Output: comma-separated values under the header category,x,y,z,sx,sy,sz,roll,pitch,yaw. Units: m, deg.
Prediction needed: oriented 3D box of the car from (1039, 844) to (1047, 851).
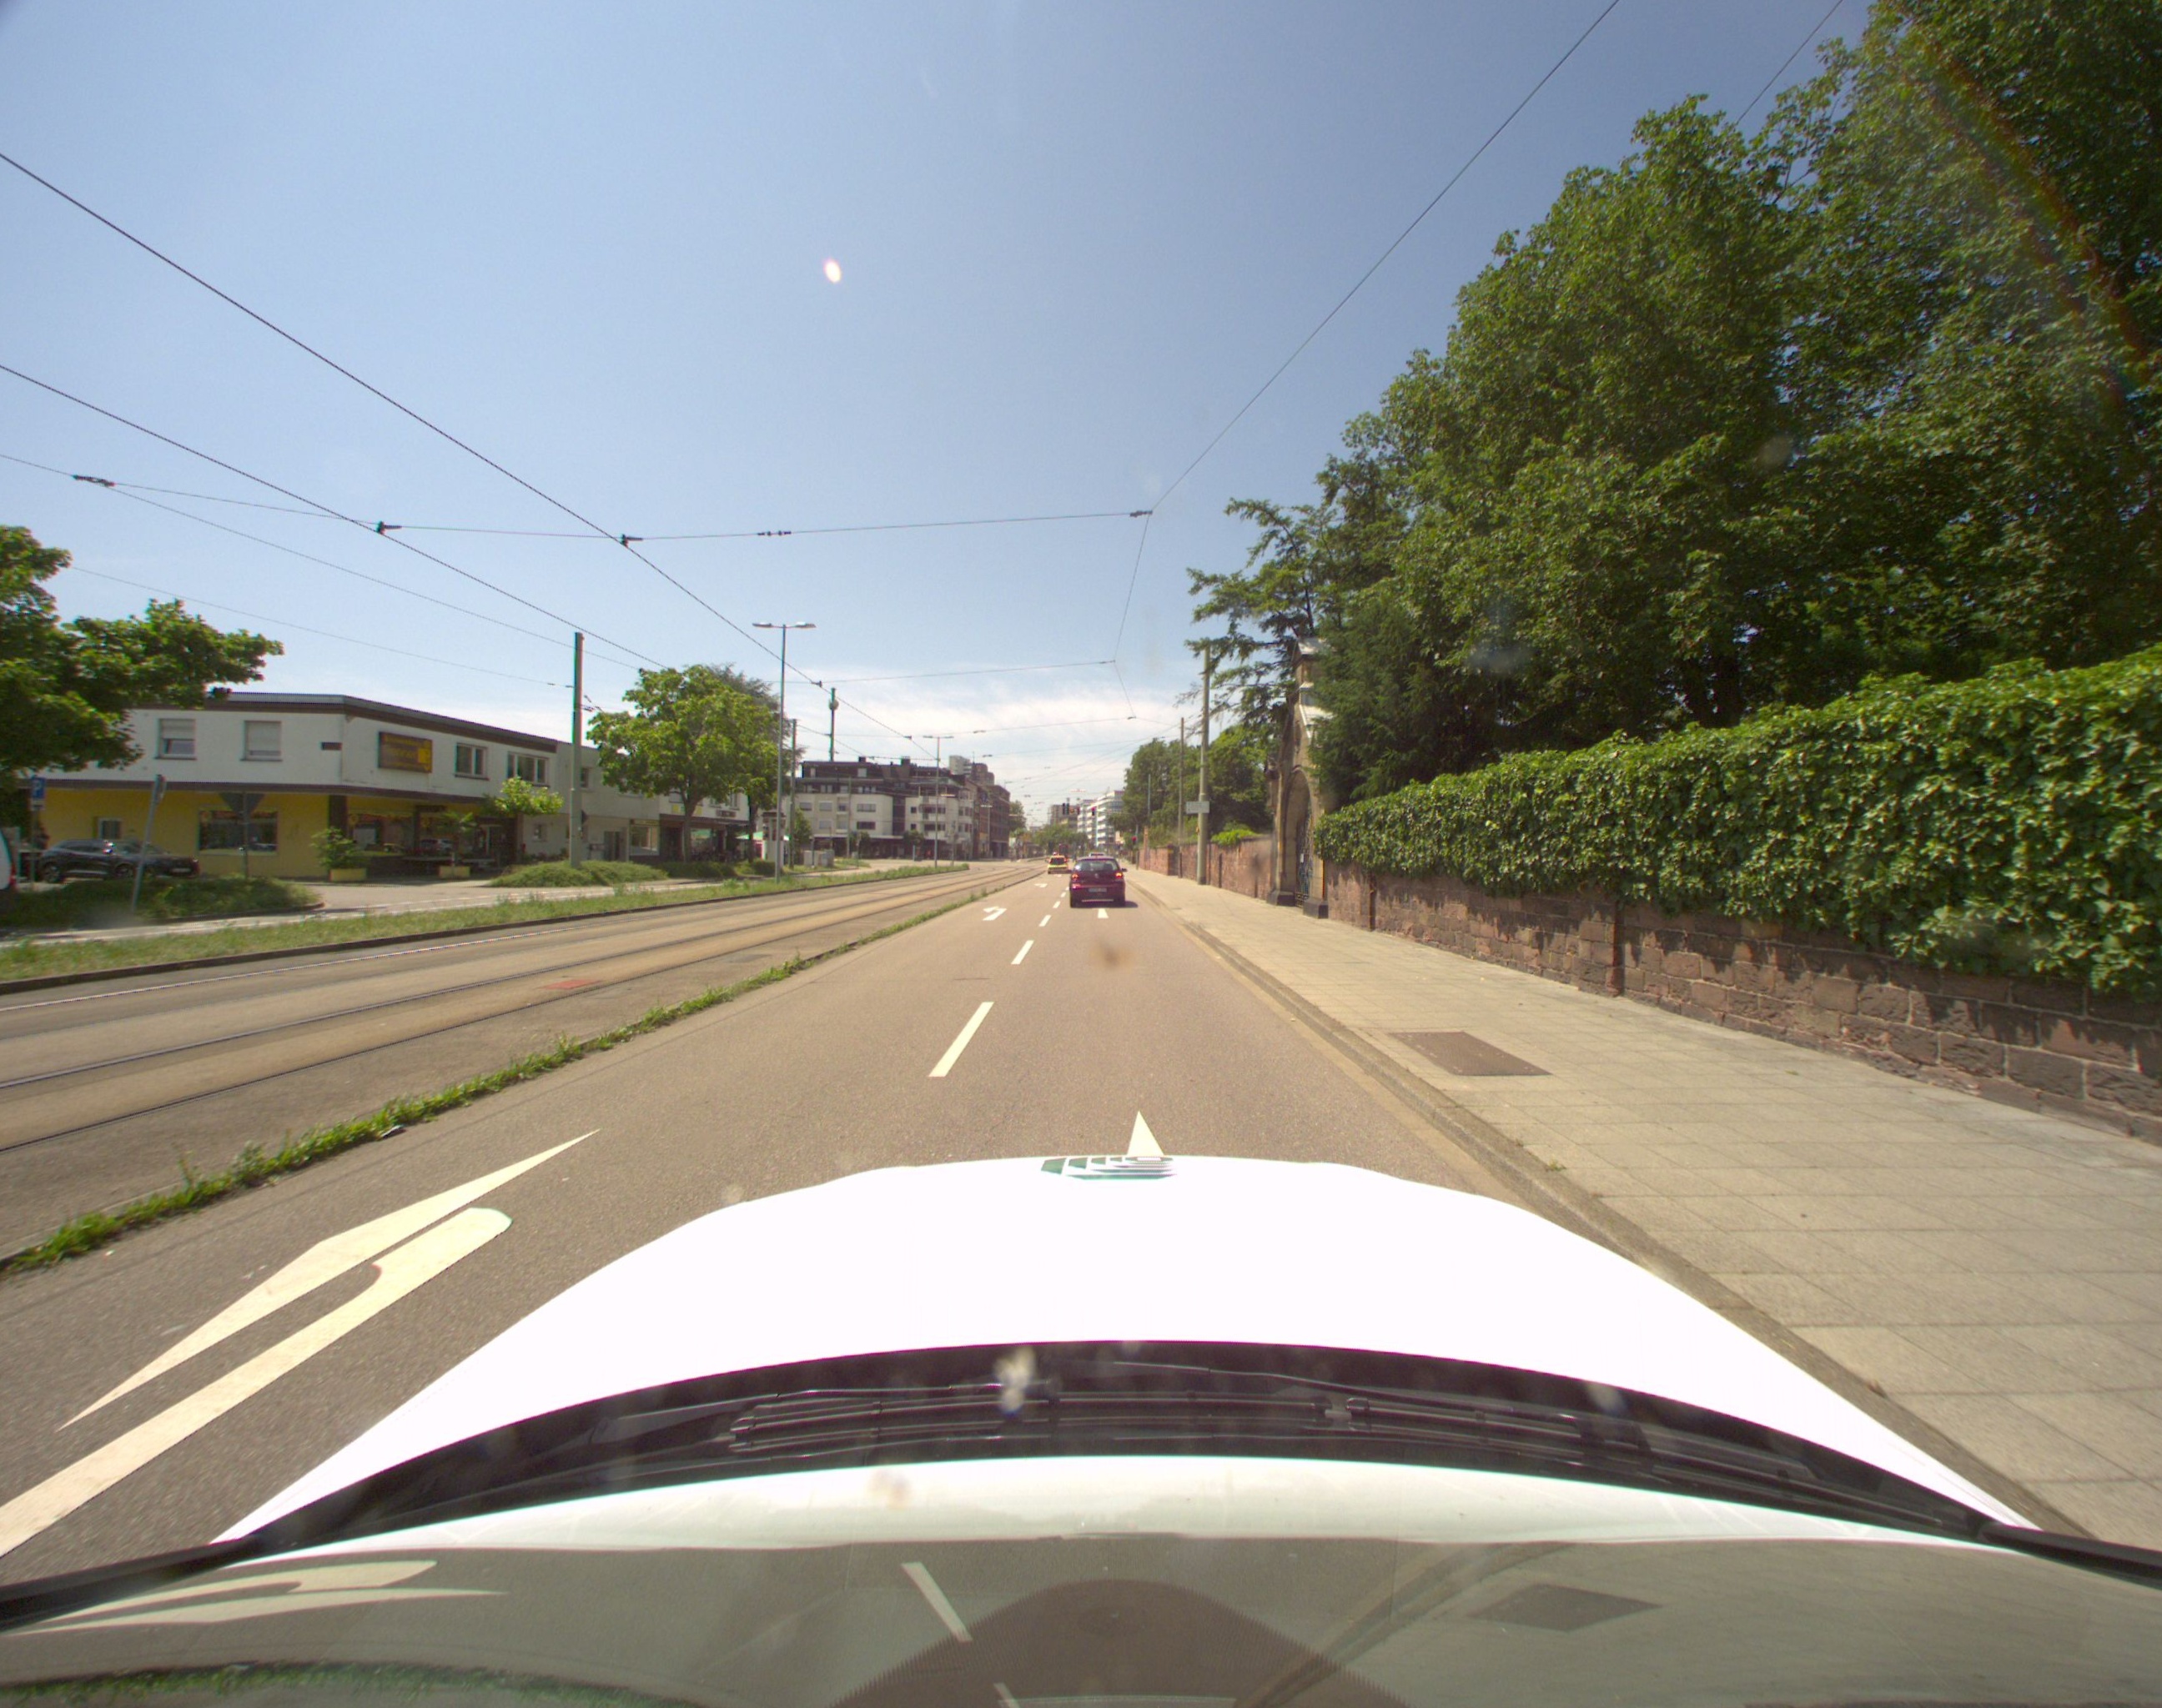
category,x,y,z,sx,sy,sz,roll,pitch,yaw
car,-10.124,-1.684,215.585,1.729,2.013,4.001,1,0,1

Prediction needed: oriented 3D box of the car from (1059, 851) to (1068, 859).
category,x,y,z,sx,sy,sz,roll,pitch,yaw
car,-3.783,0.223,178.175,1.931,1.641,4.000,-1,-1,0

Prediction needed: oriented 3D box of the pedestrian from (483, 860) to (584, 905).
category,x,y,z,sx,sy,sz,roll,pitch,yaw
pedestrian,-25.689,1.294,38.401,1.987,2.014,4.000,-1,-1,0

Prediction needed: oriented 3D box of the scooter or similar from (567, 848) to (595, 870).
category,x,y,z,sx,sy,sz,roll,pitch,yaw
scooter or similar,-28.341,0.276,46.142,0.450,1.191,1.352,-1,-1,21

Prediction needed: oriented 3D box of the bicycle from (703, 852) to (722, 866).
category,x,y,z,sx,sy,sz,roll,pitch,yaw
bicycle,-26.423,0.370,58.381,0.536,0.979,1.759,-1,-1,1

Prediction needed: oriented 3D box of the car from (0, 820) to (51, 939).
category,x,y,z,sx,sy,sz,roll,pitch,yaw
car,-19.348,0.387,11.776,1.868,2.011,5.346,3,0,2

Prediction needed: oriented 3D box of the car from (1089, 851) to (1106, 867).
category,x,y,z,sx,sy,sz,roll,pitch,yaw
car,1.536,0.453,75.961,1.567,1.415,3.720,-2,0,0

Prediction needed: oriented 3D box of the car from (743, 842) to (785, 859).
category,x,y,z,sx,sy,sz,roll,pitch,yaw
car,-44.937,-0.512,115.675,5.049,2.341,2.244,-1,-1,-1

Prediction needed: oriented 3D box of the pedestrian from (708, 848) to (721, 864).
category,x,y,z,sx,sy,sz,roll,pitch,yaw
pedestrian,-28.140,0.158,62.532,0.587,1.268,0.842,-1,-1,1

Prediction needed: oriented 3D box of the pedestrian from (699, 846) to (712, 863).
category,x,y,z,sx,sy,sz,roll,pitch,yaw
pedestrian,-28.784,0.068,62.446,0.587,1.268,0.842,-1,-1,1

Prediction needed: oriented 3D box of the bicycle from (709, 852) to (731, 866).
category,x,y,z,sx,sy,sz,roll,pitch,yaw
bicycle,-25.190,0.357,56.901,0.608,0.979,2.030,-1,-1,1

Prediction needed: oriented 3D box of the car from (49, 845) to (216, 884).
category,x,y,z,sx,sy,sz,roll,pitch,yaw
car,-33.148,0.347,28.523,3.971,1.297,1.683,1,1,2

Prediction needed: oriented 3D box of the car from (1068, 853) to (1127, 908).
category,x,y,z,sx,sy,sz,roll,pitch,yaw
car,0.484,0.734,24.712,1.604,1.463,4.085,-2,0,1

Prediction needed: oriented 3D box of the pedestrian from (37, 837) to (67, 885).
category,x,y,z,sx,sy,sz,roll,pitch,yaw
pedestrian,-39.055,0.252,30.909,0.485,1.799,0.471,-1,-1,0

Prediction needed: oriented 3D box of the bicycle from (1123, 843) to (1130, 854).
category,x,y,z,sx,sy,sz,roll,pitch,yaw
bicycle,6.435,-0.803,115.353,0.832,1.525,4.001,-1,-1,1

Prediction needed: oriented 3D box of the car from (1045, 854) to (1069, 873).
category,x,y,z,sx,sy,sz,roll,pitch,yaw
car,-1.932,0.752,66.166,1.718,1.445,3.293,-1,1,0

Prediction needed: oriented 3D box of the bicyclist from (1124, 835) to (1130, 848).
category,x,y,z,sx,sy,sz,roll,pitch,yaw
bicyclist,6.504,-1.733,114.845,0.719,1.818,0.889,-1,-1,1

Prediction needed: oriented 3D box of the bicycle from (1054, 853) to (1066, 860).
category,x,y,z,sx,sy,sz,roll,pitch,yaw
bicycle,-3.410,0.379,130.973,1.861,1.008,0.578,-1,-1,-4
